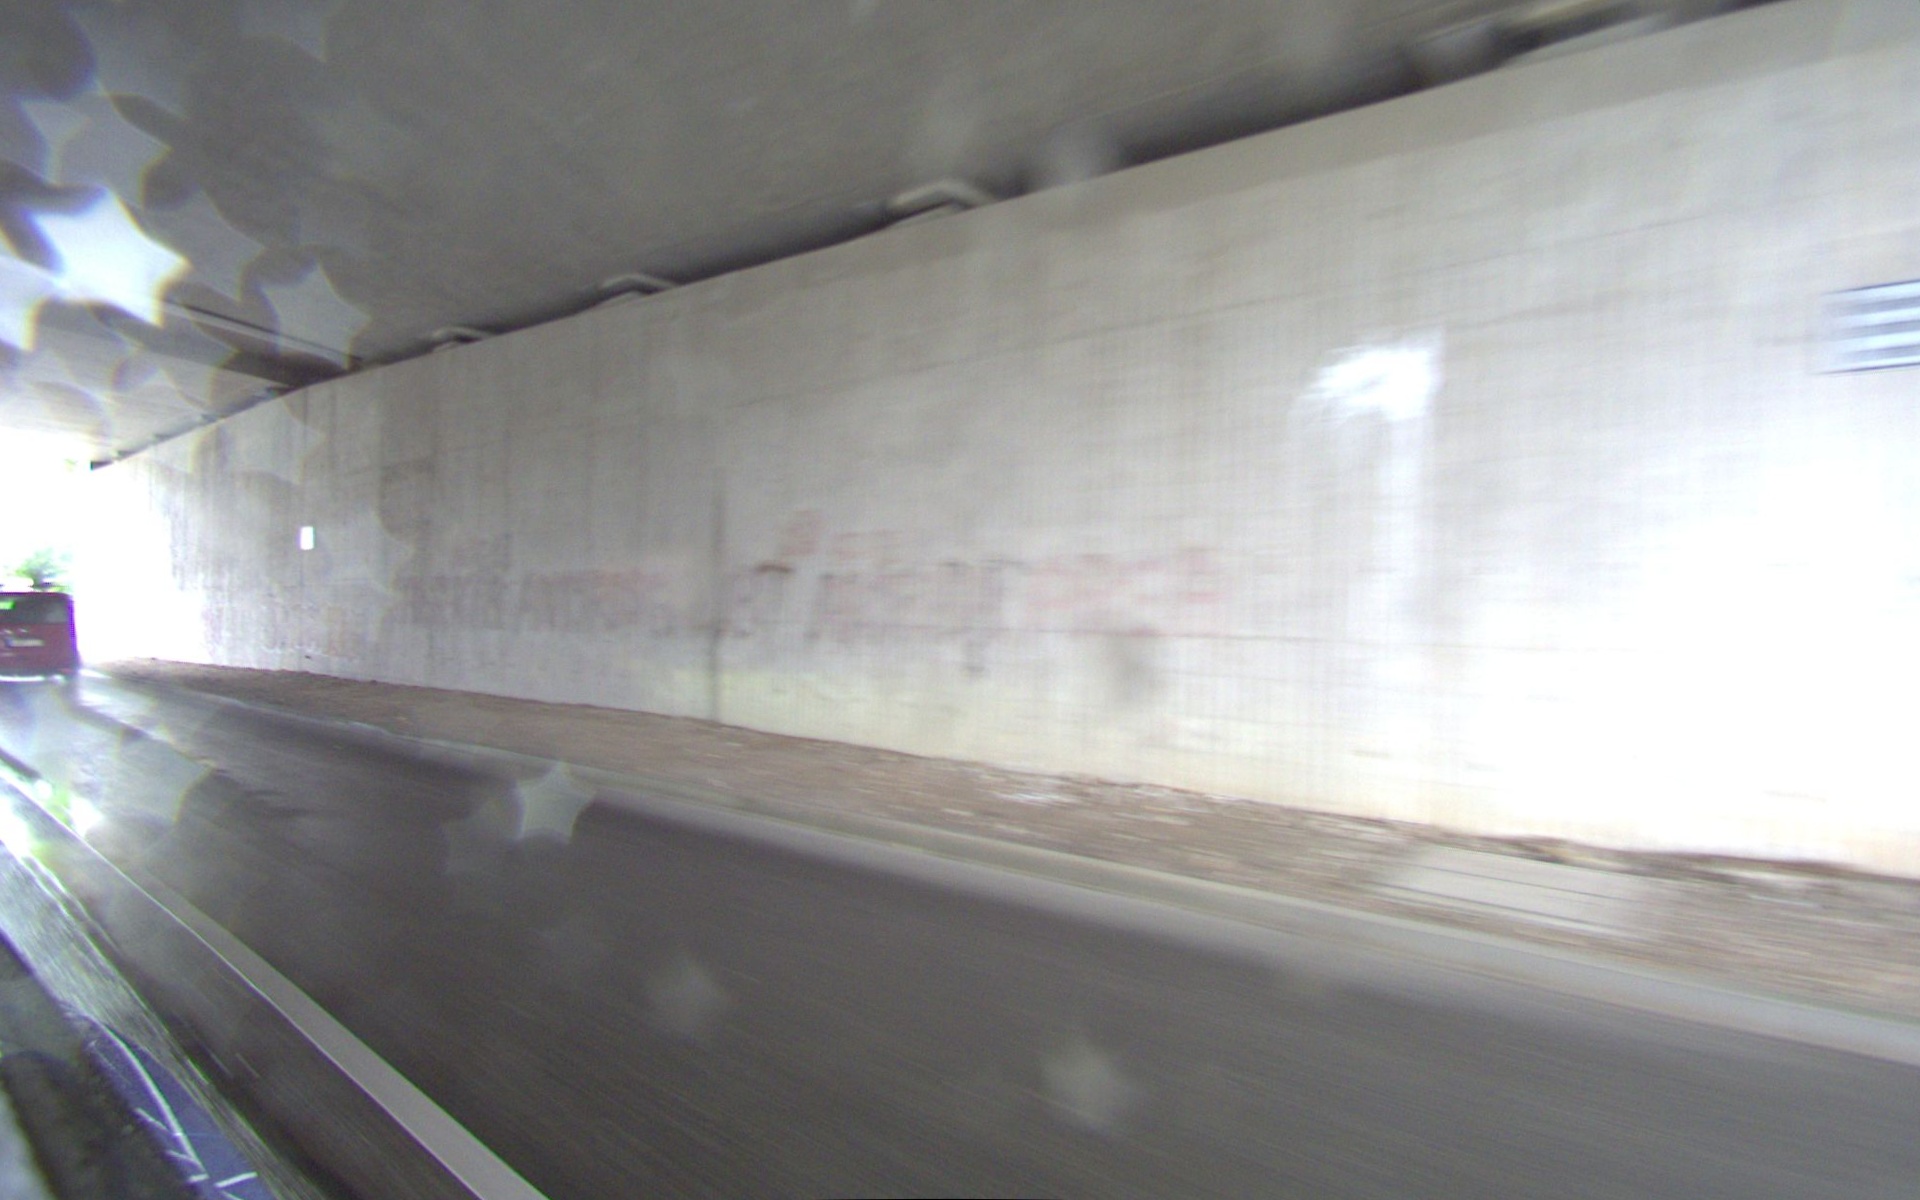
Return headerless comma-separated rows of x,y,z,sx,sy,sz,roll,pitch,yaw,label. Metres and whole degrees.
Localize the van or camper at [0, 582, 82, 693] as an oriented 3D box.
-19.844,0.730,20.923,4.690,2.114,1.972,-1,0,42,van or camper
